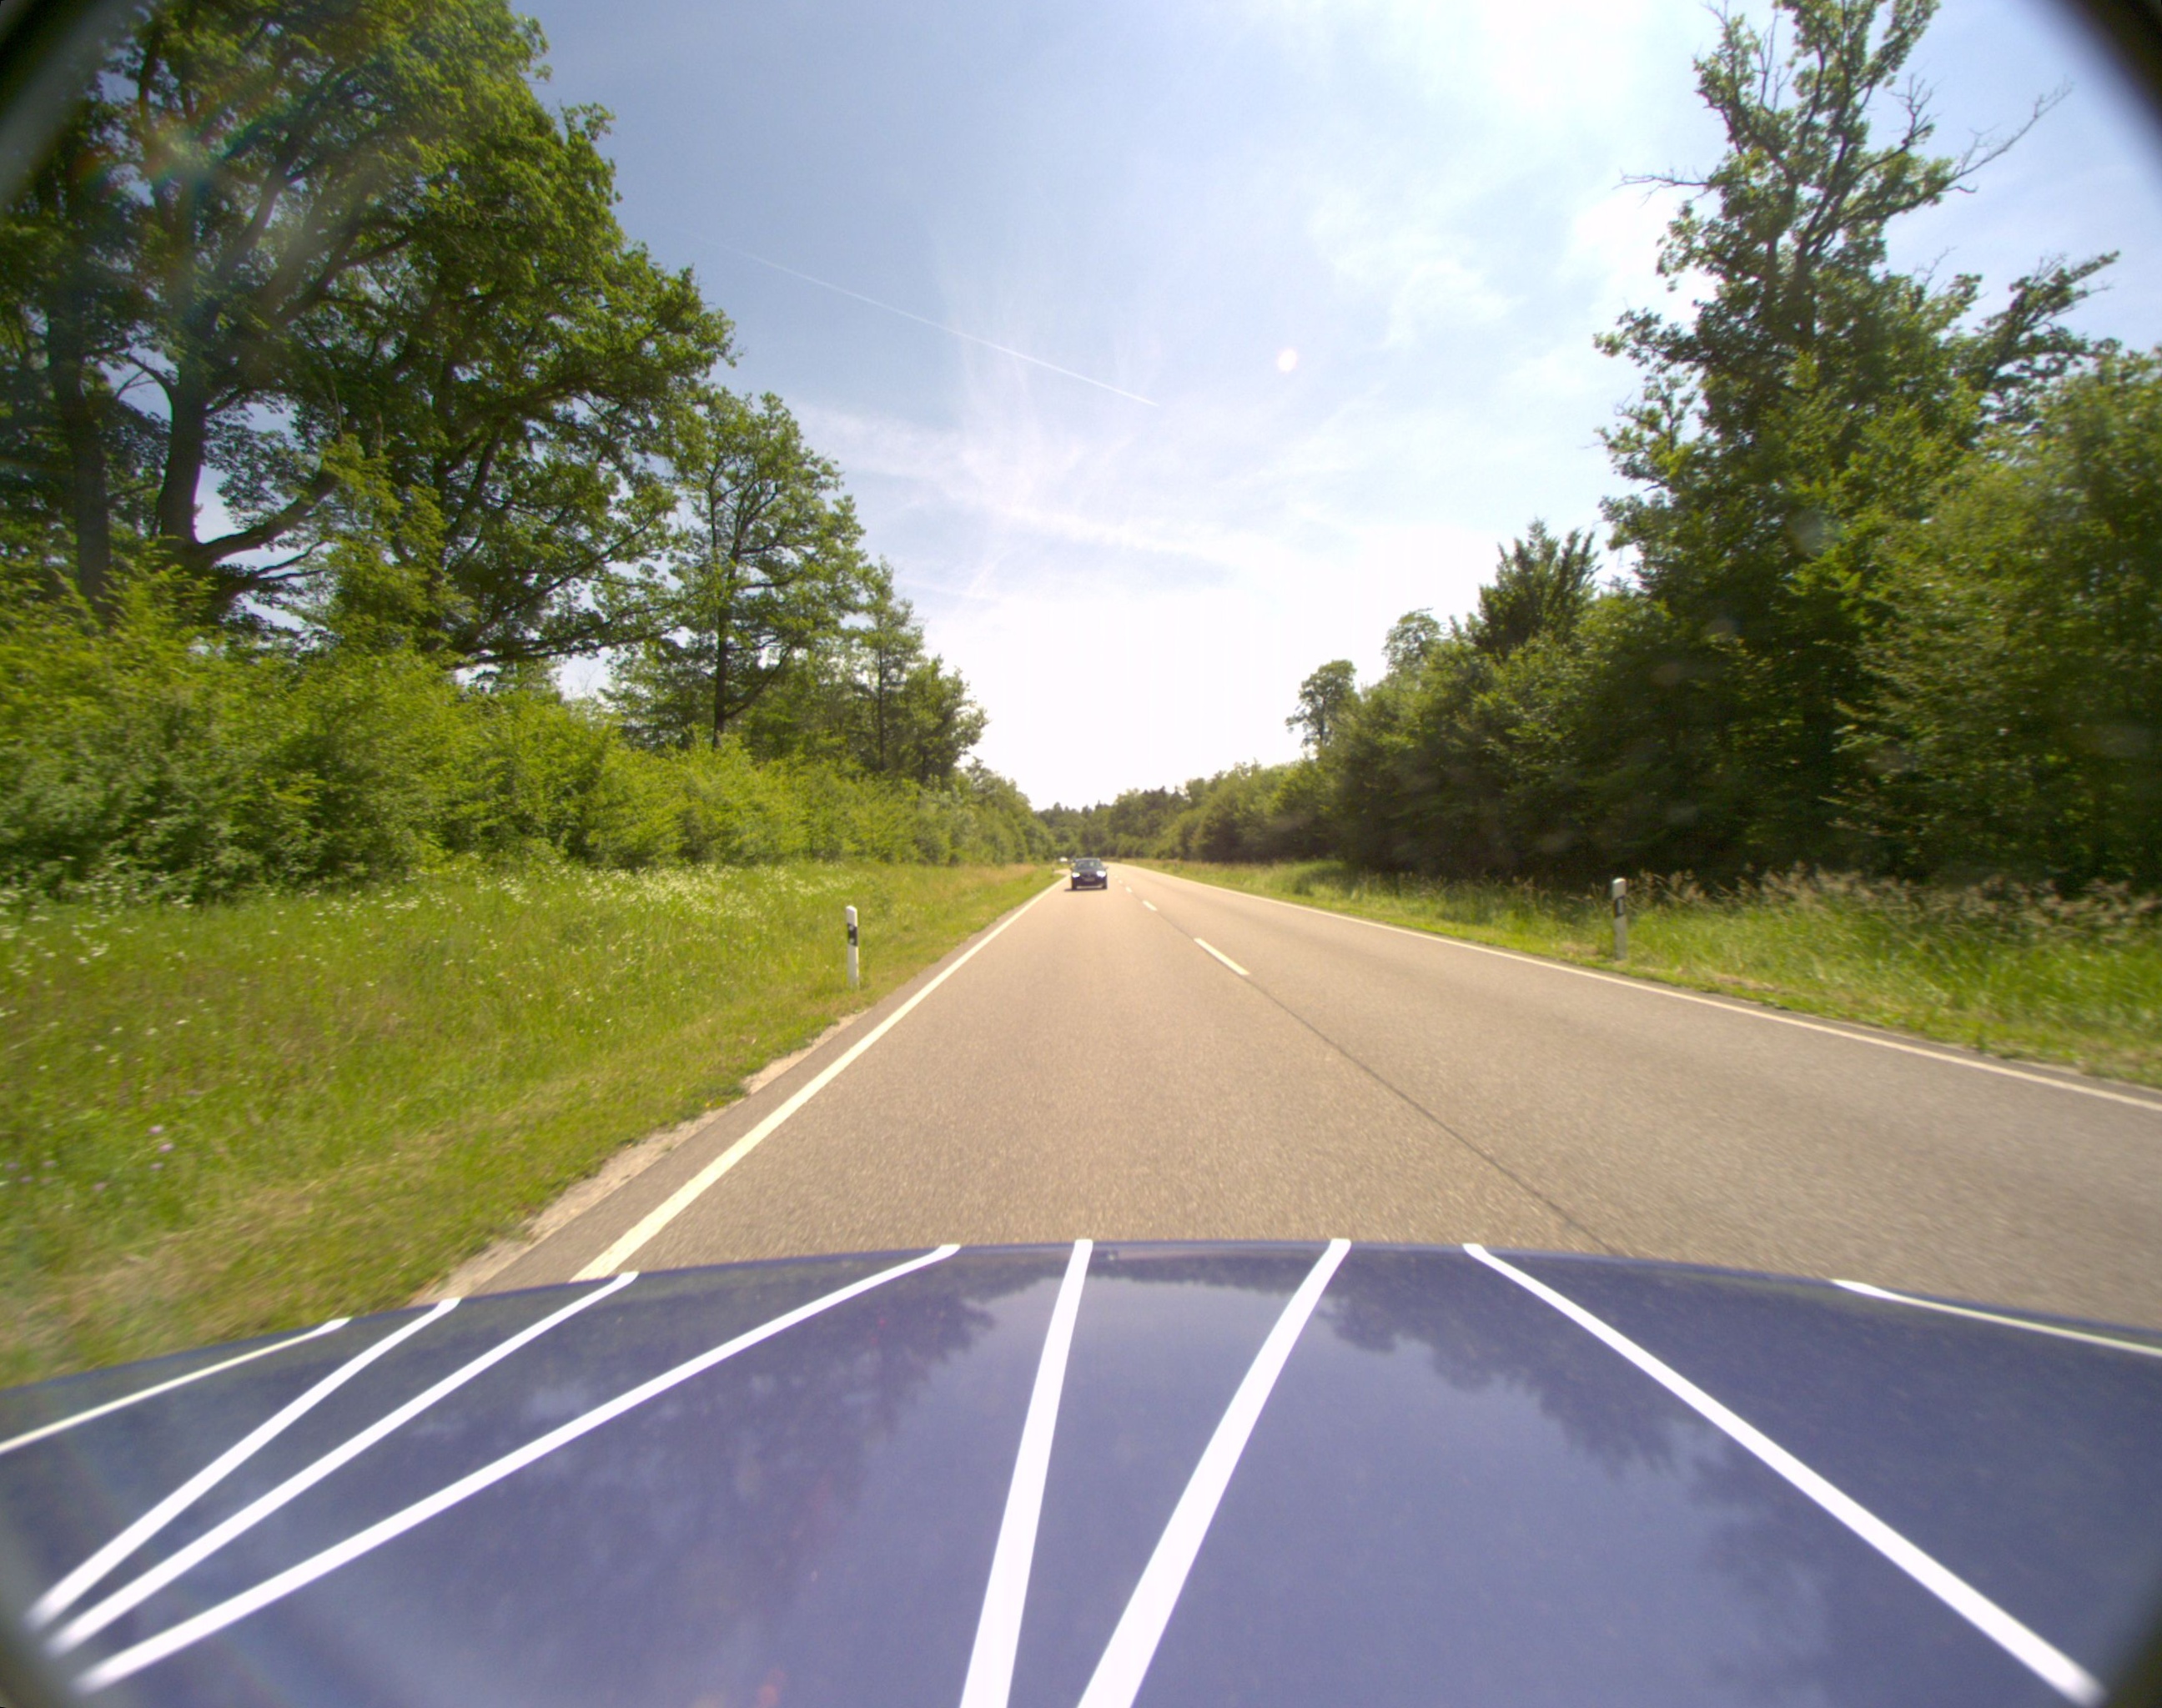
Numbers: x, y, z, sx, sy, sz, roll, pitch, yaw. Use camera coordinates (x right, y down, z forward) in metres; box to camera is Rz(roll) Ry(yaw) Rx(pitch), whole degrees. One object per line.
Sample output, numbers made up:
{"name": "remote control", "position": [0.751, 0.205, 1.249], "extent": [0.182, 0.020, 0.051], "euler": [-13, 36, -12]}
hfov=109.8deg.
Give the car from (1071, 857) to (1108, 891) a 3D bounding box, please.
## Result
{"name": "car", "position": [0.444, 0.963, 37.801], "extent": [1.713, 1.516, 4.242], "euler": [-2, 0, 1]}
